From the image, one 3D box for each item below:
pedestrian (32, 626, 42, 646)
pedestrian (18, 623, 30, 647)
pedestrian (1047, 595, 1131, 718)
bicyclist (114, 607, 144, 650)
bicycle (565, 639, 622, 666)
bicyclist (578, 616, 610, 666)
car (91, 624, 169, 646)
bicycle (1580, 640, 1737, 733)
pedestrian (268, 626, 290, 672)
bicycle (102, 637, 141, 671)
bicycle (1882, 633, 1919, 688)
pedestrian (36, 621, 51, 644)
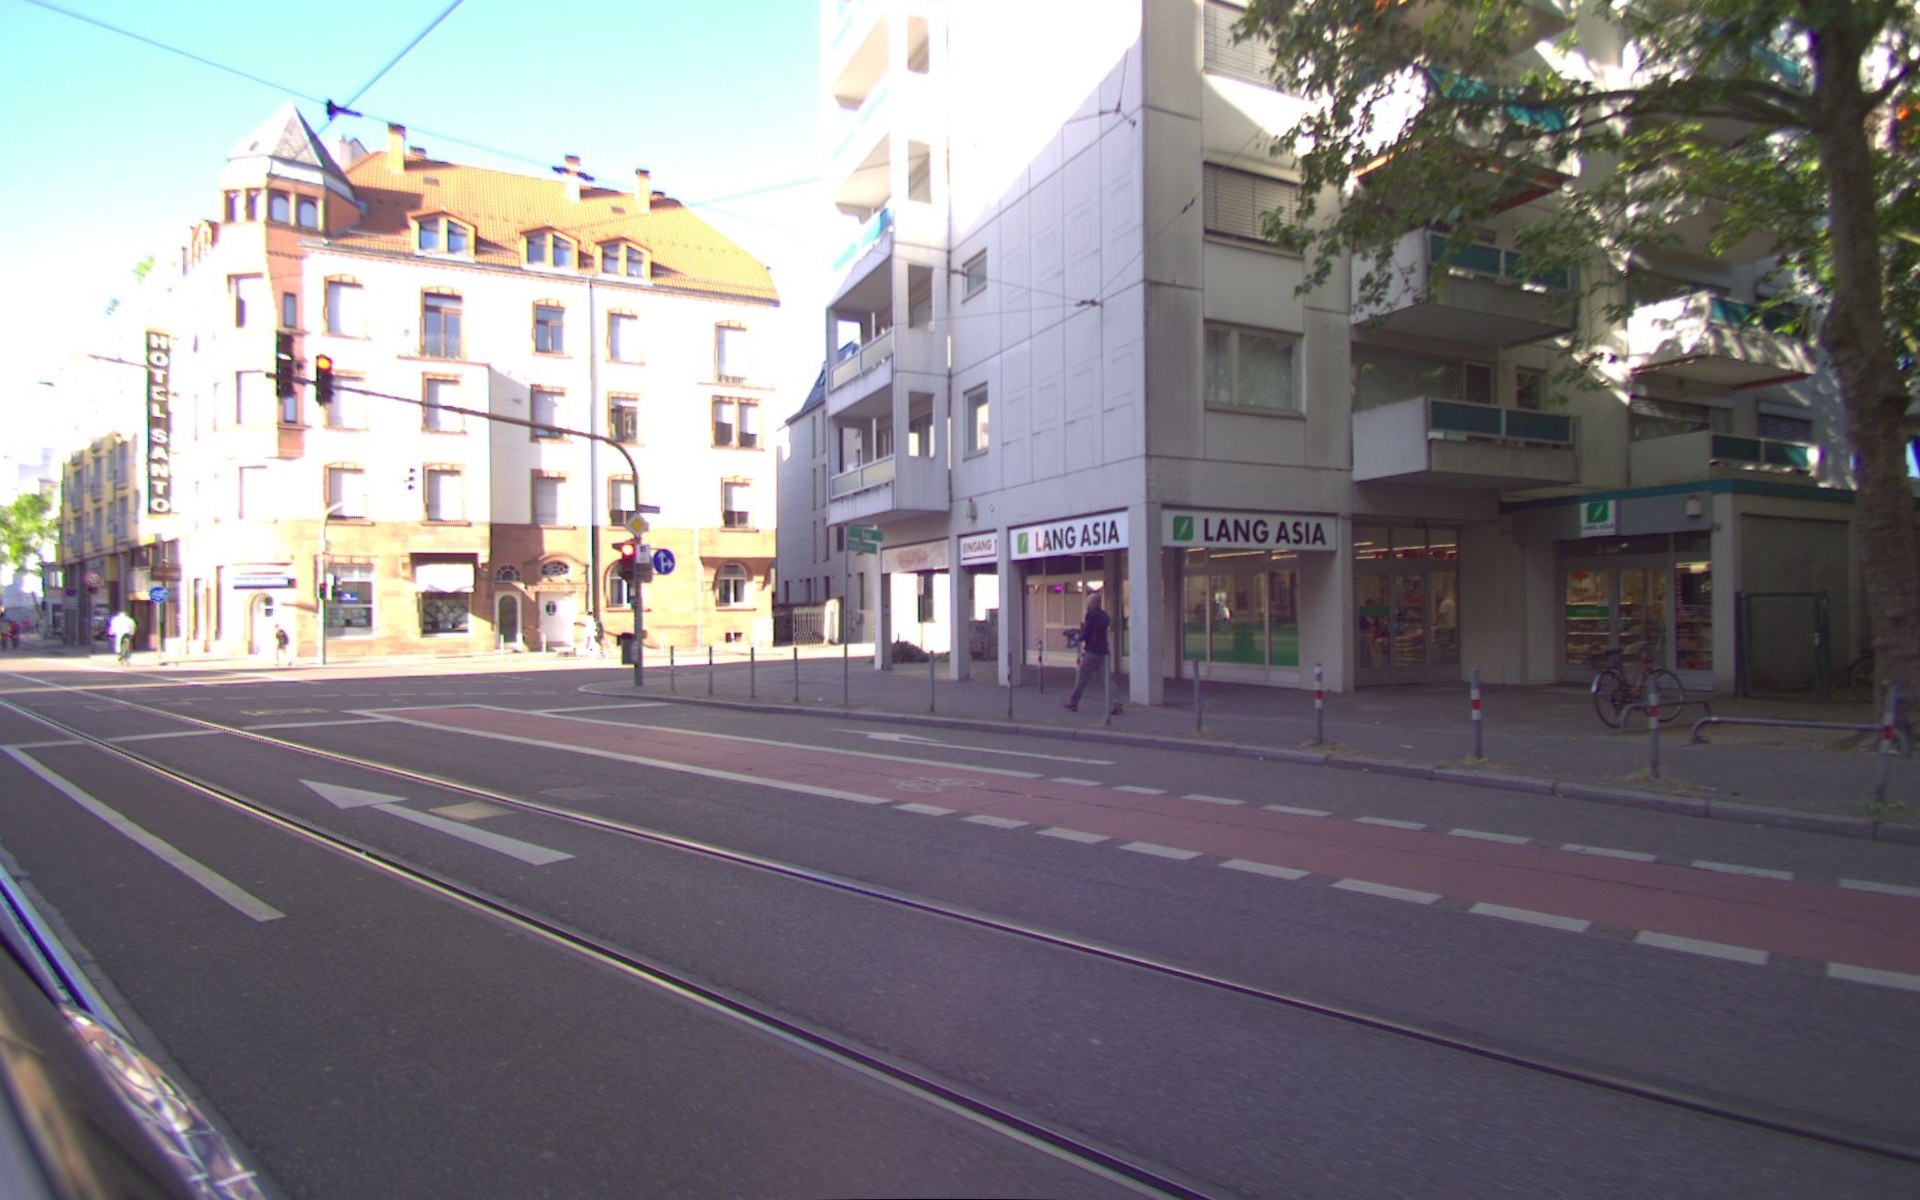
[{"bbox_3d":[-78.770,3.061,86.352,0.499,1.629,0.566,-2,-2,40],"label":"pedestrian"},{"bbox_3d":[-79.493,2.981,85.976,0.708,1.961,0.631,-2,-2,40],"label":"pedestrian"},{"bbox_3d":[1.931,0.833,15.226,0.673,1.779,1.027,0,-2,-38],"label":"pedestrian"},{"bbox_3d":[-28.789,0.980,35.076,0.778,1.494,0.675,-2,-2,40],"label":"bicyclist"},{"bbox_3d":[-13.287,1.889,36.711,1.789,0.916,0.791,-1,-1,2],"label":"bicycle"},{"bbox_3d":[-13.276,1.493,36.720,0.961,1.777,0.615,-1,-1,2],"label":"bicyclist"},{"bbox_3d":[-61.397,2.564,74.927,1.784,1.560,4.189,1,0,41],"label":"car"},{"bbox_3d":[8.653,1.044,12.536,1.889,1.042,0.667,0,-1,-23],"label":"bicycle"},{"bbox_3d":[-23.871,1.704,35.470,0.515,1.564,0.537,-2,-1,39],"label":"pedestrian"},{"bbox_3d":[-29.177,1.871,35.210,2.082,1.129,0.685,-1,-2,40],"label":"bicycle"},{"bbox_3d":[16.723,1.021,16.823,0.496,0.920,1.987,0,-2,-35],"label":"bicycle"},{"bbox_3d":[-74.524,2.642,82.303,0.777,1.777,0.708,-1,-1,32],"label":"pedestrian"}]
